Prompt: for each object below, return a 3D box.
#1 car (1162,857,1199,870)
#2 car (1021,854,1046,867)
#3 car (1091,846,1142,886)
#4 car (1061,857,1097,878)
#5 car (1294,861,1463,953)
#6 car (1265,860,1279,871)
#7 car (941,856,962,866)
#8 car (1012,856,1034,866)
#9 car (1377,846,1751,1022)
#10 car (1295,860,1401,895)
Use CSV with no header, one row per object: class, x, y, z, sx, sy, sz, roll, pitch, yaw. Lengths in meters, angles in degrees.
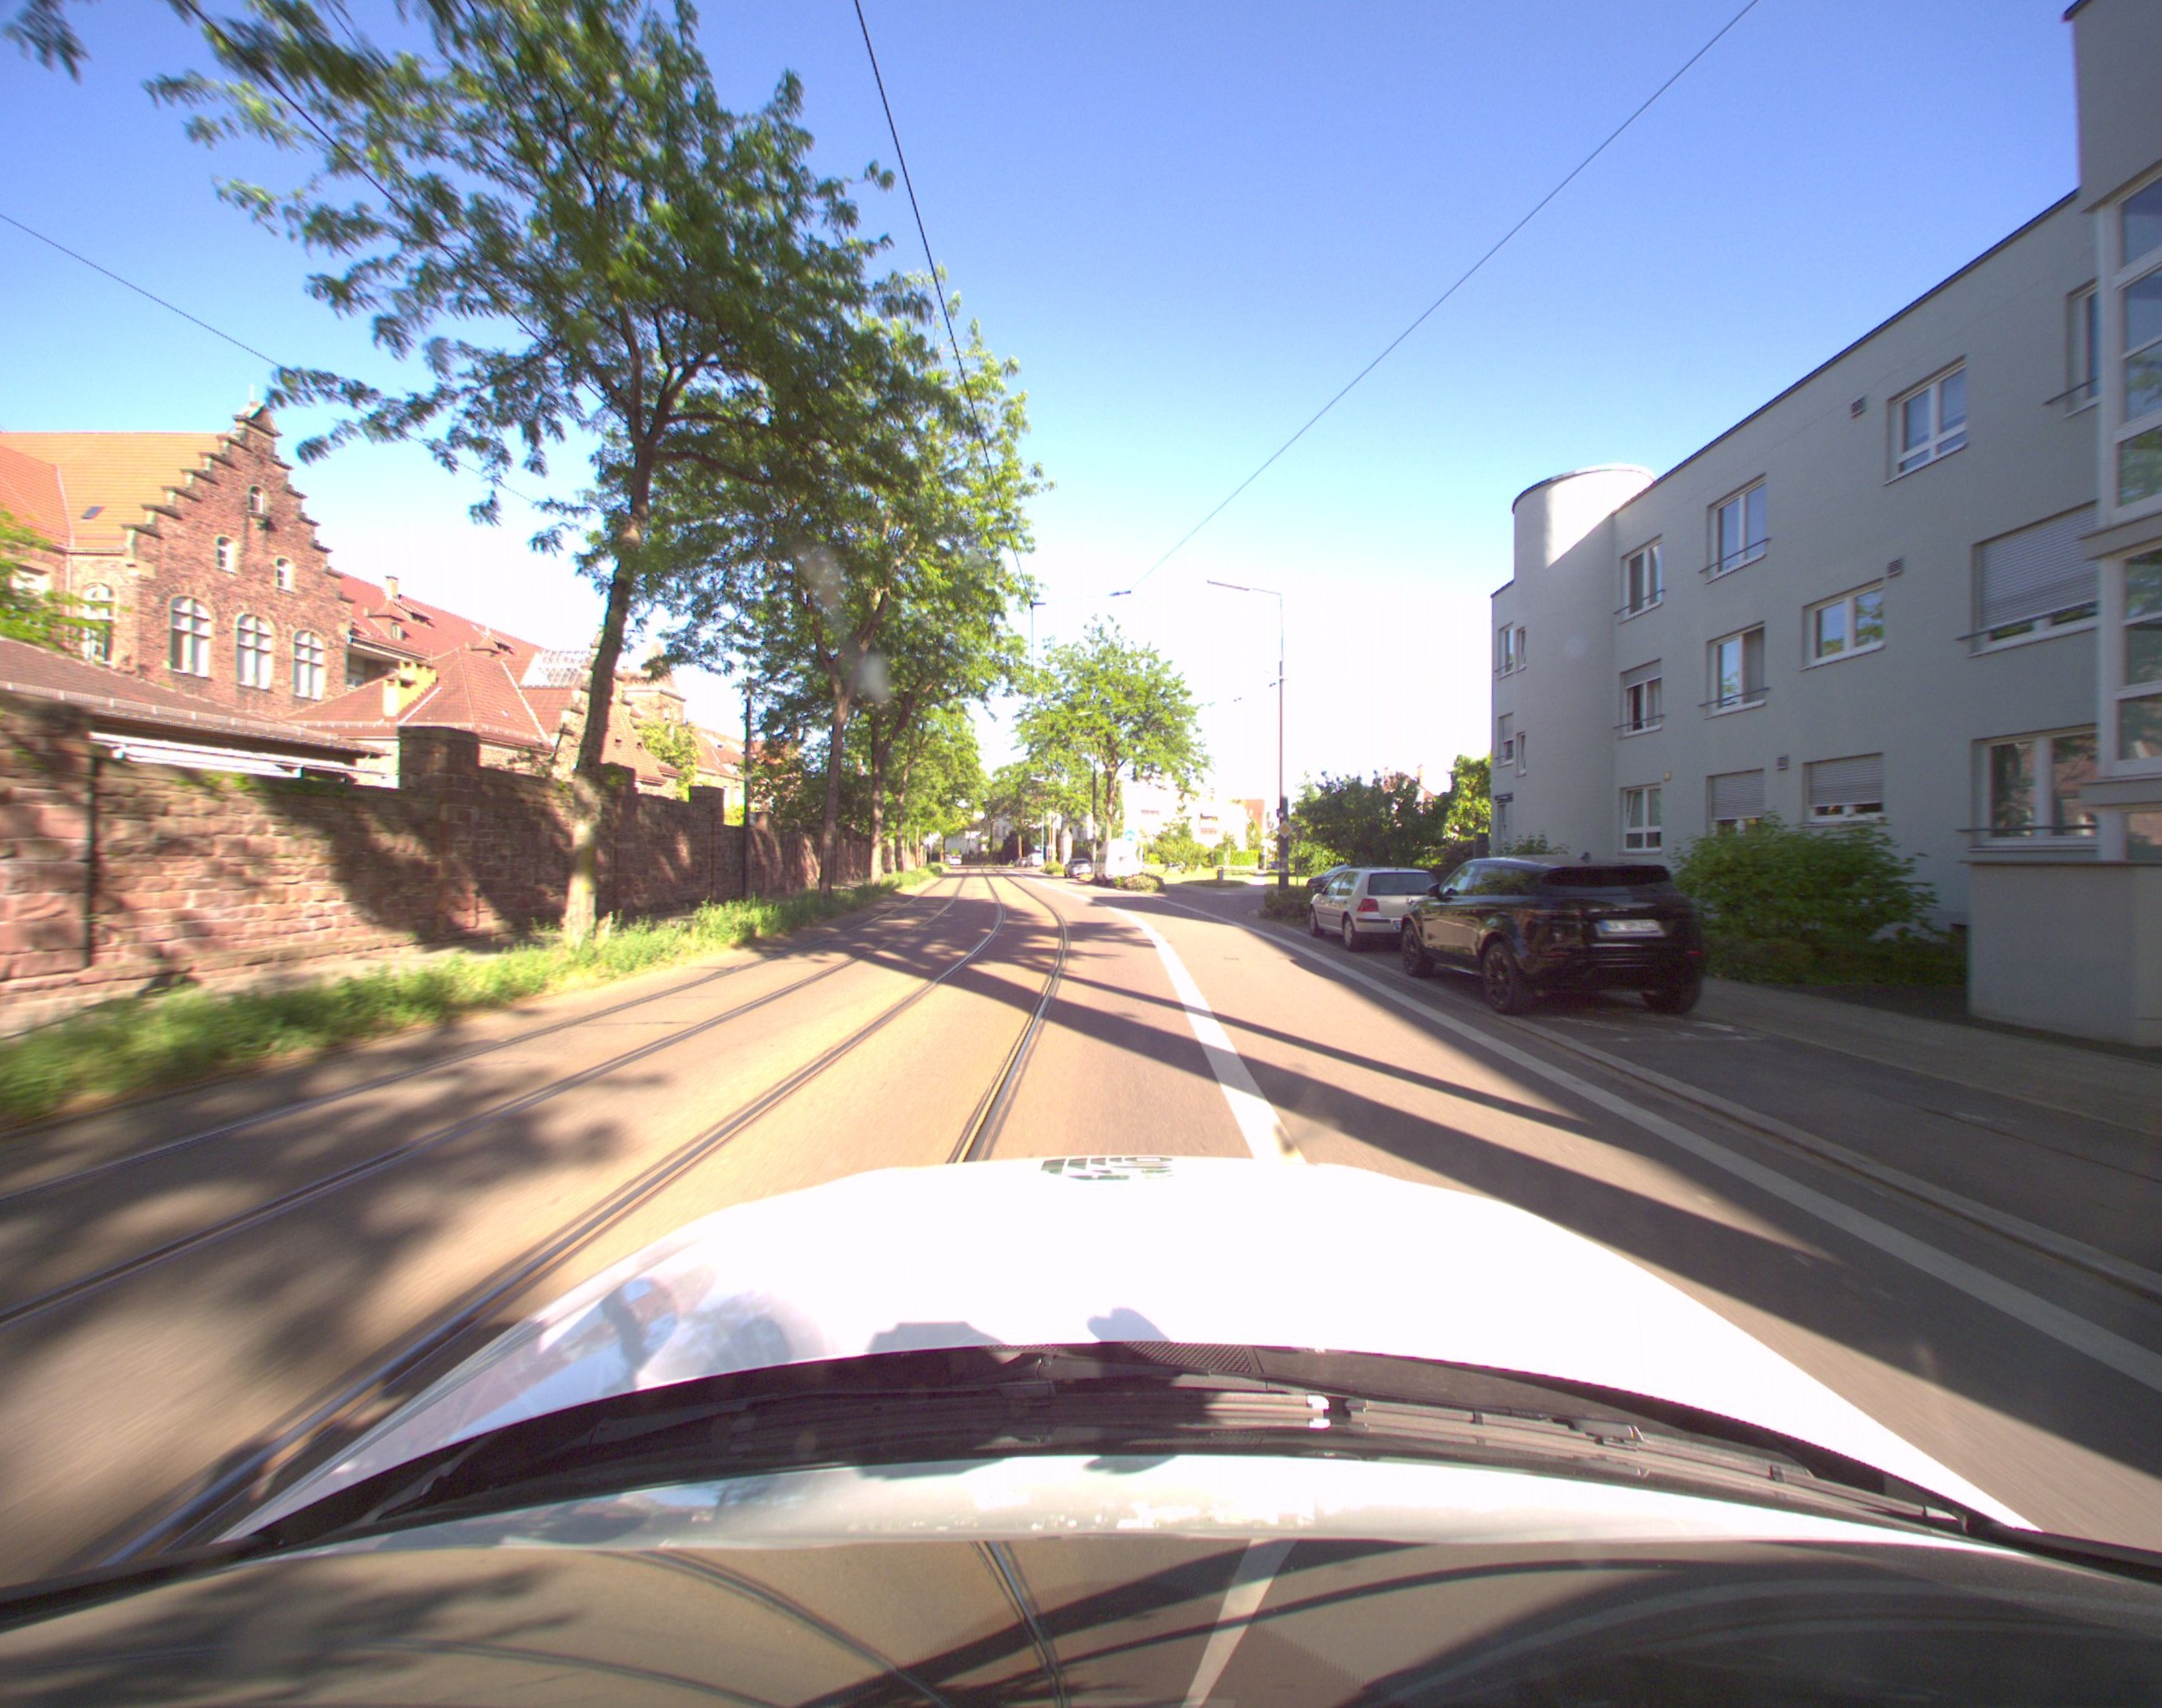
car,12.590,1.239,103.135,4.294,1.511,1.827,1,-3,-20
car,-6.668,0.856,113.922,2.031,1.747,4.716,0,0,-23
car,1.933,0.643,45.941,1.993,2.095,4.701,0,0,-9
car,-0.239,1.038,64.089,2.000,1.465,5.416,-3,0,-9
car,5.475,0.891,15.635,1.731,1.495,4.532,1,-1,2
car,29.765,1.760,126.613,2.030,1.708,4.304,0,-1,15
car,-21.528,1.160,135.330,1.905,1.611,4.186,1,-3,-31
car,-8.525,1.086,119.594,2.002,1.423,4.298,0,-1,-23
car,5.323,0.771,9.887,1.985,1.616,4.604,-1,-1,3
car,12.286,1.098,37.437,4.471,1.490,1.992,0,-4,-26
